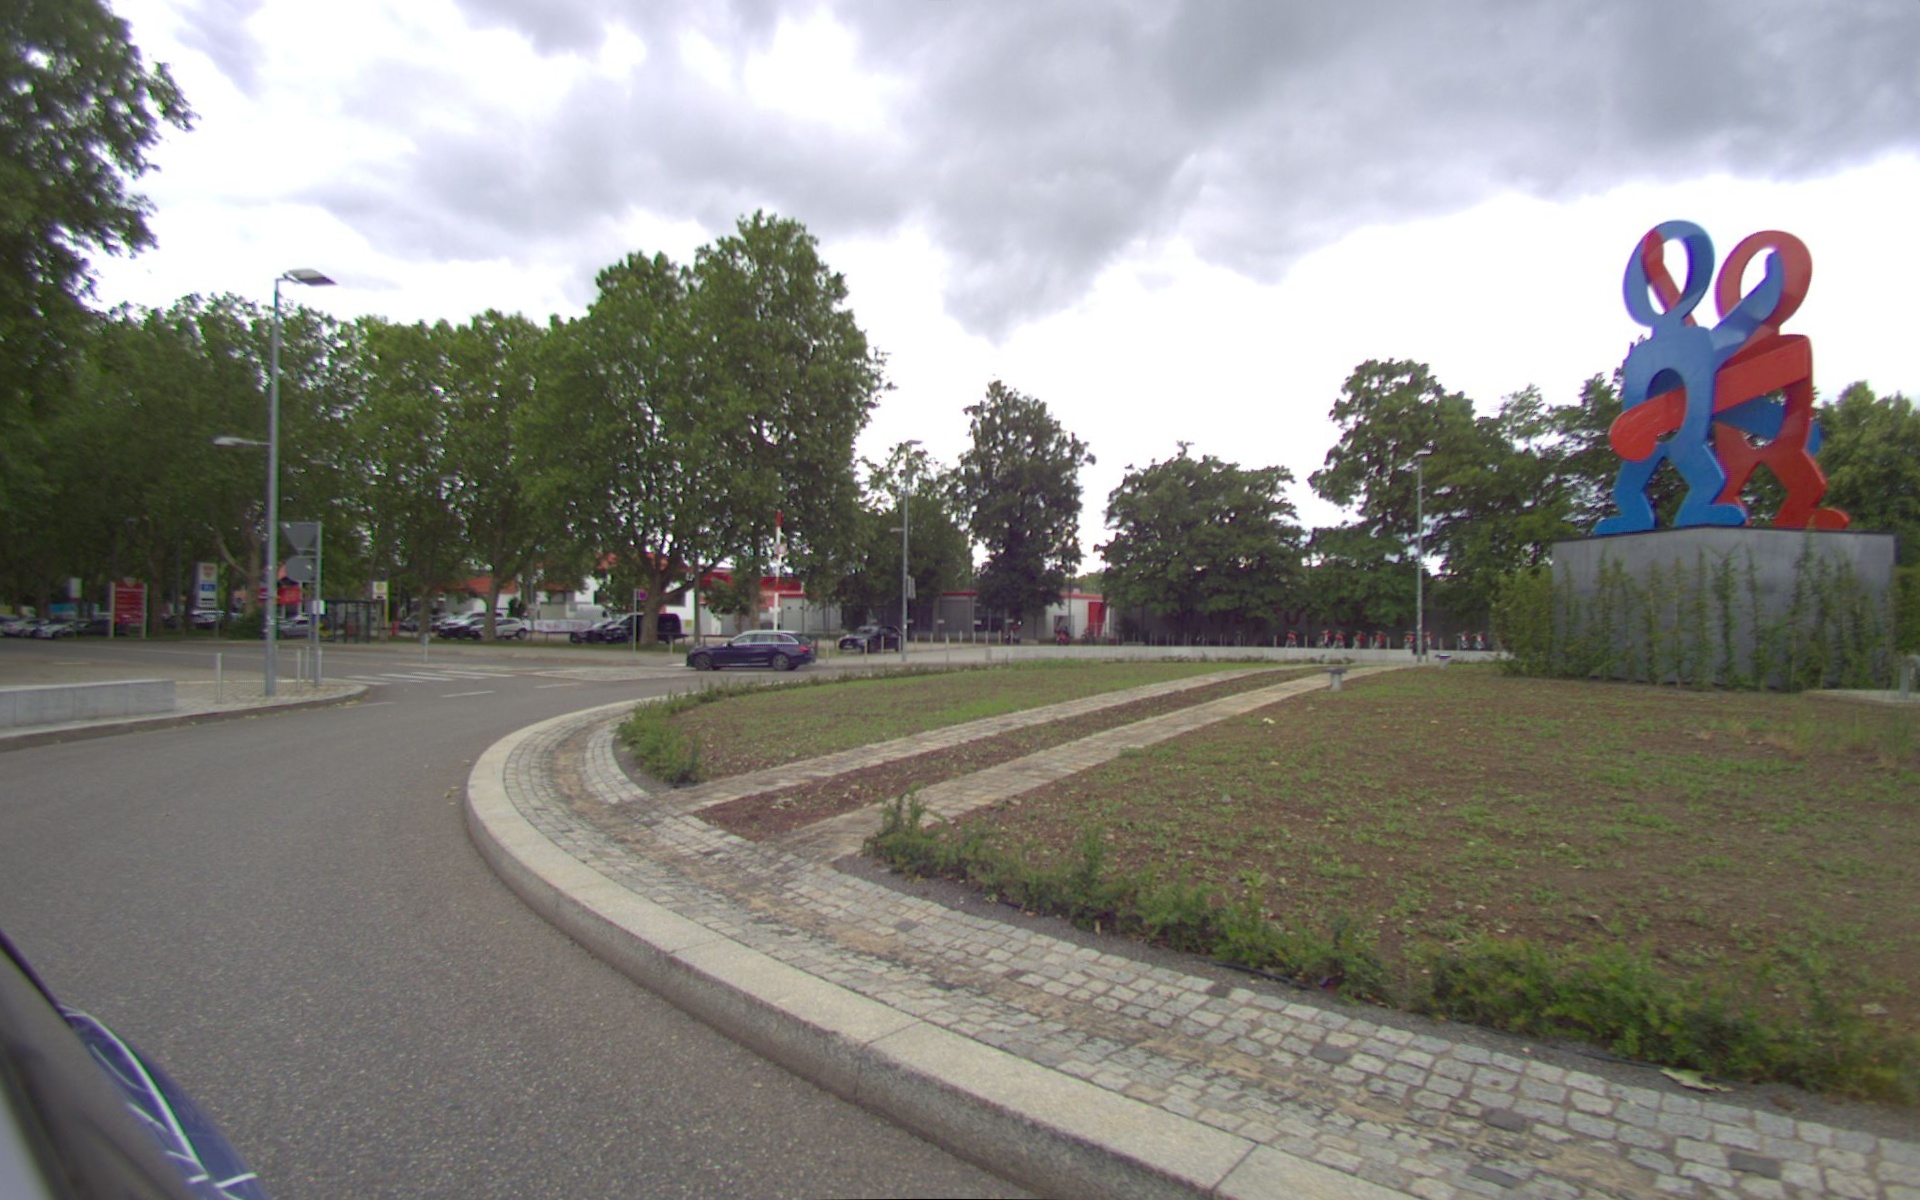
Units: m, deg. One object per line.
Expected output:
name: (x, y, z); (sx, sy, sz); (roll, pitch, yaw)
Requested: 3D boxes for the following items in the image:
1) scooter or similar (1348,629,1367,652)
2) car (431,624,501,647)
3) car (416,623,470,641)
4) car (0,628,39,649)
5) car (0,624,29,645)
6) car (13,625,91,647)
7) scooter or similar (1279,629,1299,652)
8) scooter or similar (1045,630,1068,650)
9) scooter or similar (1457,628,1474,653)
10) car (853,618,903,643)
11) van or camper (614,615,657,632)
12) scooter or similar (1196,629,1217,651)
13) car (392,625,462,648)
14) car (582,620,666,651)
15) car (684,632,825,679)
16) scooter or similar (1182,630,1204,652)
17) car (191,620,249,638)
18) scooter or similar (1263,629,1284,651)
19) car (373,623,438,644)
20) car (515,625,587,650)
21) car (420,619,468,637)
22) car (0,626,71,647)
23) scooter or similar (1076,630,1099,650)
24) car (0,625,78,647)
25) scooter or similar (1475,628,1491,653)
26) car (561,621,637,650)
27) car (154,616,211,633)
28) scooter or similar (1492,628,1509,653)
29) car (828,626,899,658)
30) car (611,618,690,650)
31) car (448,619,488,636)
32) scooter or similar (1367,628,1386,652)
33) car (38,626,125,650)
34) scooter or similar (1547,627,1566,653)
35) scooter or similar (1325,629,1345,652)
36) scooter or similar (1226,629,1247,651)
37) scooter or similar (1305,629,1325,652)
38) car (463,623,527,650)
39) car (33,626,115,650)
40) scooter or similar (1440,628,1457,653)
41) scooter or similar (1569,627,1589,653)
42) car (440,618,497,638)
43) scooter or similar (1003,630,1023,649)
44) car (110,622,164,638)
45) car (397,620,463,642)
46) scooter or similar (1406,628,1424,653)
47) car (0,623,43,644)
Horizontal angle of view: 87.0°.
scooter or similar: (19.469, 1.971, 49.588); (0.637, 1.117, 1.956); (-1, -1, 28)
car: (-34.452, 2.479, 70.651); (1.869, 1.530, 3.956); (-2, -2, 38)
car: (-46.222, 2.848, 90.623); (1.864, 1.530, 3.966); (-1, -1, 30)
car: (-71.393, 2.870, 75.321); (1.869, 1.530, 3.955); (-2, -2, 38)
car: (-73.613, 2.640, 76.924); (1.869, 1.530, 3.955); (-2, -2, 38)
car: (-64.960, 2.555, 72.452); (1.869, 1.530, 3.955); (-2, -2, 38)
scooter or similar: (16.751, 2.049, 51.523); (0.637, 1.117, 1.956); (-1, -1, 28)
scooter or similar: (5.693, 2.362, 59.547); (0.637, 1.117, 1.956); (-1, -1, 28)
scooter or similar: (23.580, 1.874, 47.158); (0.637, 1.117, 1.956); (-1, -1, 28)
car: (-5.814, 2.130, 71.255); (1.766, 1.664, 4.450); (0, -1, -30)
van or camper: (-34.383, 2.514, 107.182); (4.418, 1.802, 1.779); (-1, -2, 29)
scooter or similar: (13.287, 2.146, 54.572); (0.637, 1.117, 1.956); (-1, -1, 28)
car: (-37.814, 2.594, 71.848); (1.869, 1.530, 3.955); (-2, -2, 38)
car: (-20.239, 2.104, 61.124); (2.004, 1.741, 4.763); (-1, -1, 30)
car: (-7.308, 1.977, 36.249); (4.665, 1.576, 1.795); (-1, -1, 3)
scooter or similar: (12.646, 2.226, 54.916); (0.637, 1.117, 1.956); (-1, -1, 28)
car: (-66.634, 2.579, 91.165); (1.870, 1.530, 3.954); (-2, -2, 40)
scooter or similar: (16.081, 2.053, 51.908); (0.637, 1.113, 1.956); (-1, -1, 28)
car: (-42.260, 2.526, 77.243); (1.869, 1.530, 3.955); (-2, -2, 38)
car: (-26.311, 2.372, 65.175); (1.869, 1.530, 3.955); (-2, -2, 38)
car: (-50.744, 2.728, 99.565); (1.789, 1.664, 3.918); (-1, -1, 28)
car: (-69.031, 2.704, 75.368); (1.869, 1.530, 3.955); (-2, -2, 38)
scooter or similar: (7.357, 2.315, 58.288); (0.637, 1.117, 1.956); (-1, -1, 28)
car: (-67.143, 2.630, 73.798); (1.869, 1.530, 3.955); (-2, -2, 38)
scooter or similar: (24.201, 1.859, 46.817); (0.637, 1.117, 1.956); (-1, -1, 28)
car: (-22.347, 2.168, 62.799); (2.003, 1.741, 4.249); (-1, -1, 29)
car: (-72.534, 2.267, 94.427); (1.870, 1.530, 3.954); (-2, -2, 40)
scooter or similar: (24.819, 1.845, 46.474); (0.637, 1.117, 1.956); (-1, -1, 28)
car: (-4.893, 2.128, 51.813); (1.772, 1.536, 3.787); (-1, -1, 30)
car: (-18.112, 1.970, 59.366); (2.003, 1.741, 4.249); (-1, -1, 29)
car: (-50.656, 2.834, 104.202); (3.939, 1.733, 1.779); (-1, -2, 29)
scooter or similar: (20.231, 1.952, 49.135); (0.637, 1.117, 1.956); (-1, -1, 28)
car: (-59.053, 2.516, 68.072); (1.869, 1.530, 4.122); (-2, -2, 38)
scooter or similar: (26.739, 1.796, 45.390); (0.637, 1.117, 1.956); (-1, -1, 28)
scooter or similar: (18.607, 1.993, 50.174); (0.637, 1.117, 1.956); (-1, -1, 28)
scooter or similar: (14.795, 2.145, 54.056); (0.637, 1.117, 1.956); (-1, -1, 28)
scooter or similar: (17.760, 2.013, 50.645); (0.637, 1.117, 1.956); (-1, -1, 28)
car: (-31.988, 2.513, 69.627); (1.668, 1.791, 3.664); (-2, -2, 38)
car: (-60.801, 2.594, 69.497); (1.869, 1.530, 3.955); (-2, -2, 38)
scooter or similar: (22.954, 1.886, 47.525); (0.637, 1.117, 1.956); (-1, -1, 28)
scooter or similar: (27.499, 1.778, 44.970); (0.637, 1.117, 1.956); (-1, -1, 28)
car: (-43.229, 2.427, 89.101); (1.789, 1.664, 4.394); (-1, -1, 28)
scooter or similar: (3.242, 2.421, 61.942); (0.543, 1.103, 1.792); (-1, -1, 28)
car: (-82.043, 2.965, 100.915); (1.869, 1.530, 3.955); (-2, -2, 38)
car: (-39.435, 2.291, 75.323); (1.869, 1.530, 3.955); (-2, -2, 38)
scooter or similar: (21.684, 1.915, 48.212); (0.637, 1.117, 1.956); (-1, -1, 28)
car: (-77.286, 2.734, 81.796); (1.792, 1.664, 4.386); (-2, -2, 33)
